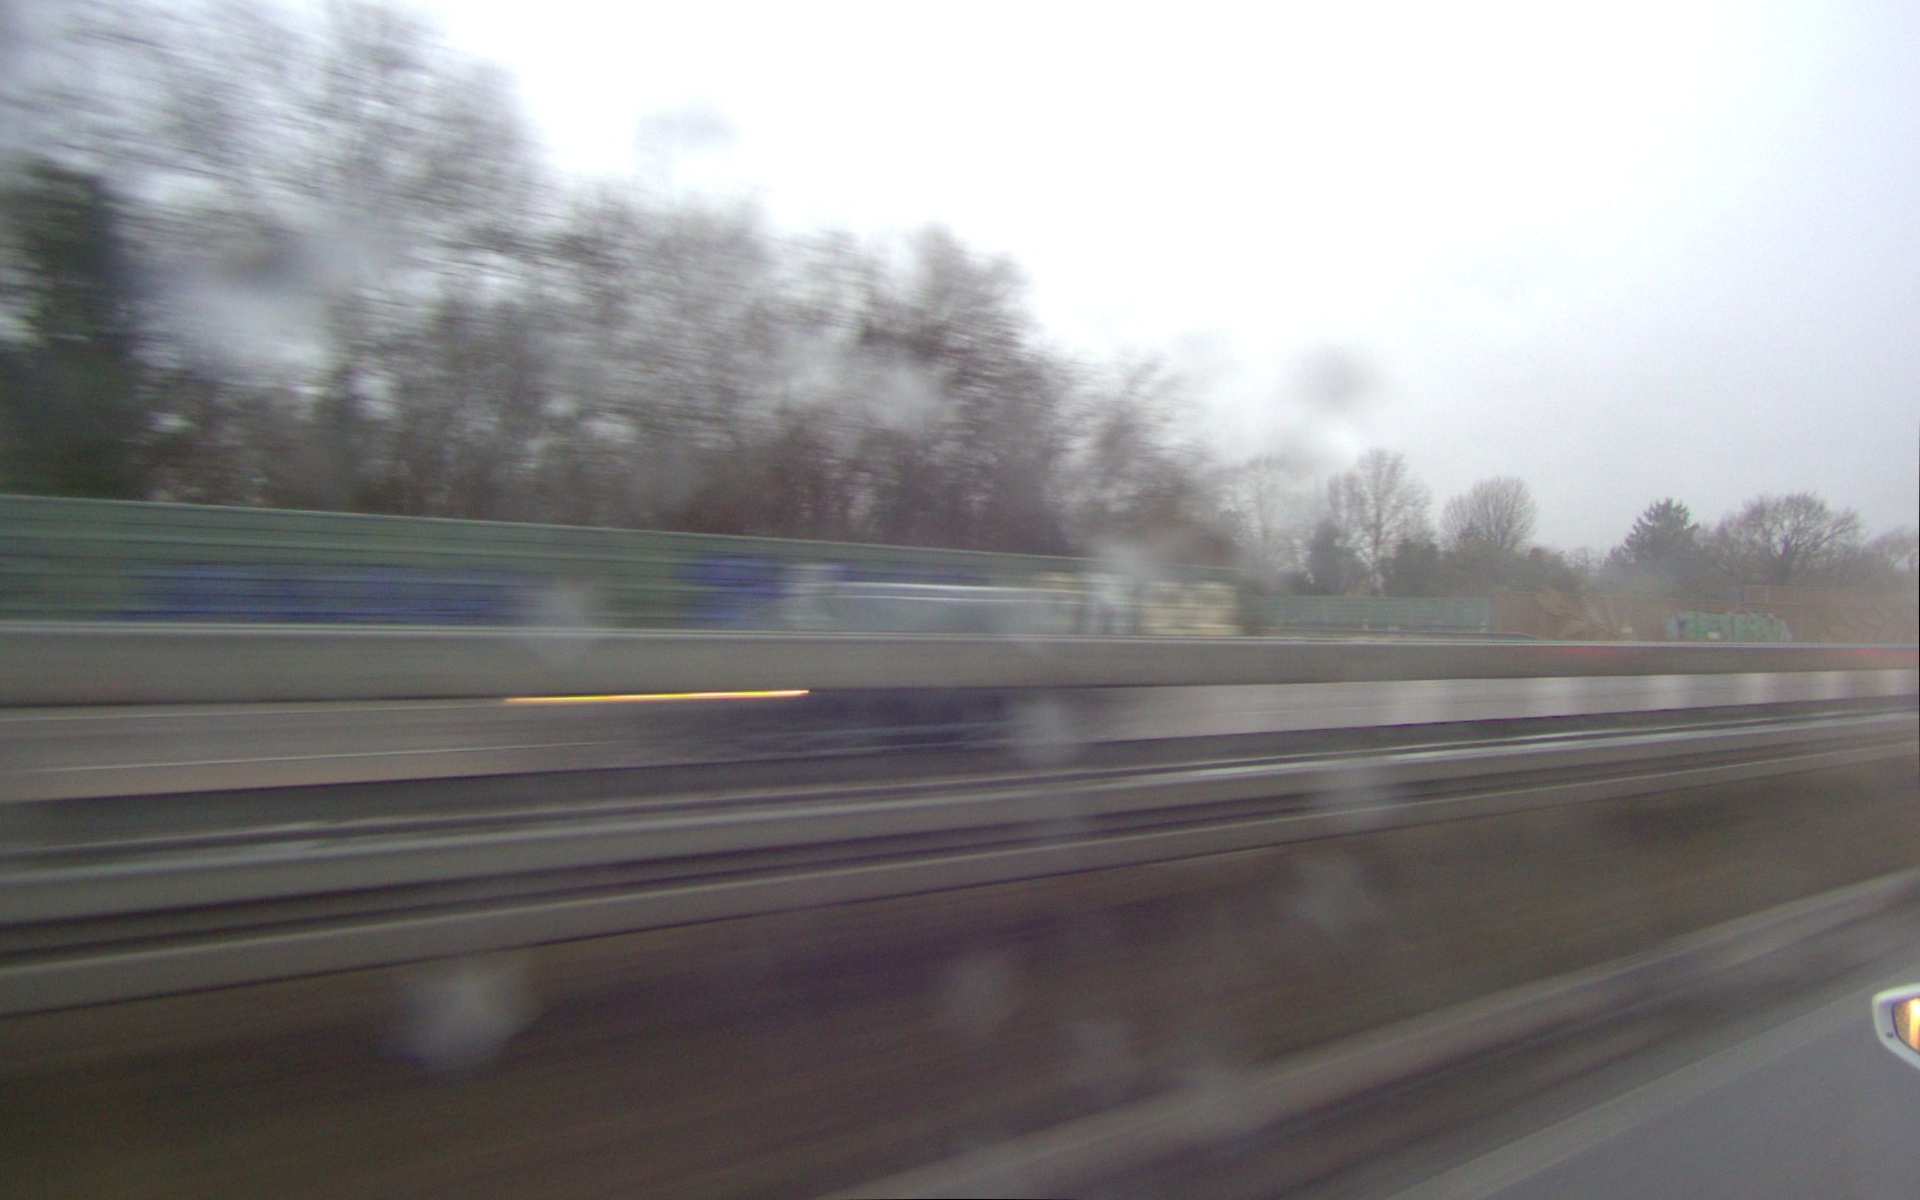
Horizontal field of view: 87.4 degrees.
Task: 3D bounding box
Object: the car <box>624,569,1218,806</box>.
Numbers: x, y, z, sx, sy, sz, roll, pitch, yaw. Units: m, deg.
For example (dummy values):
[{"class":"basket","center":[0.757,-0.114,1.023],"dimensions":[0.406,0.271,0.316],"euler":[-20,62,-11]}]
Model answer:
[{"class":"car","center":[-0.214,0.614,8.368],"dimensions":[4.617,1.501,1.855],"euler":[2,0,-30]}]
